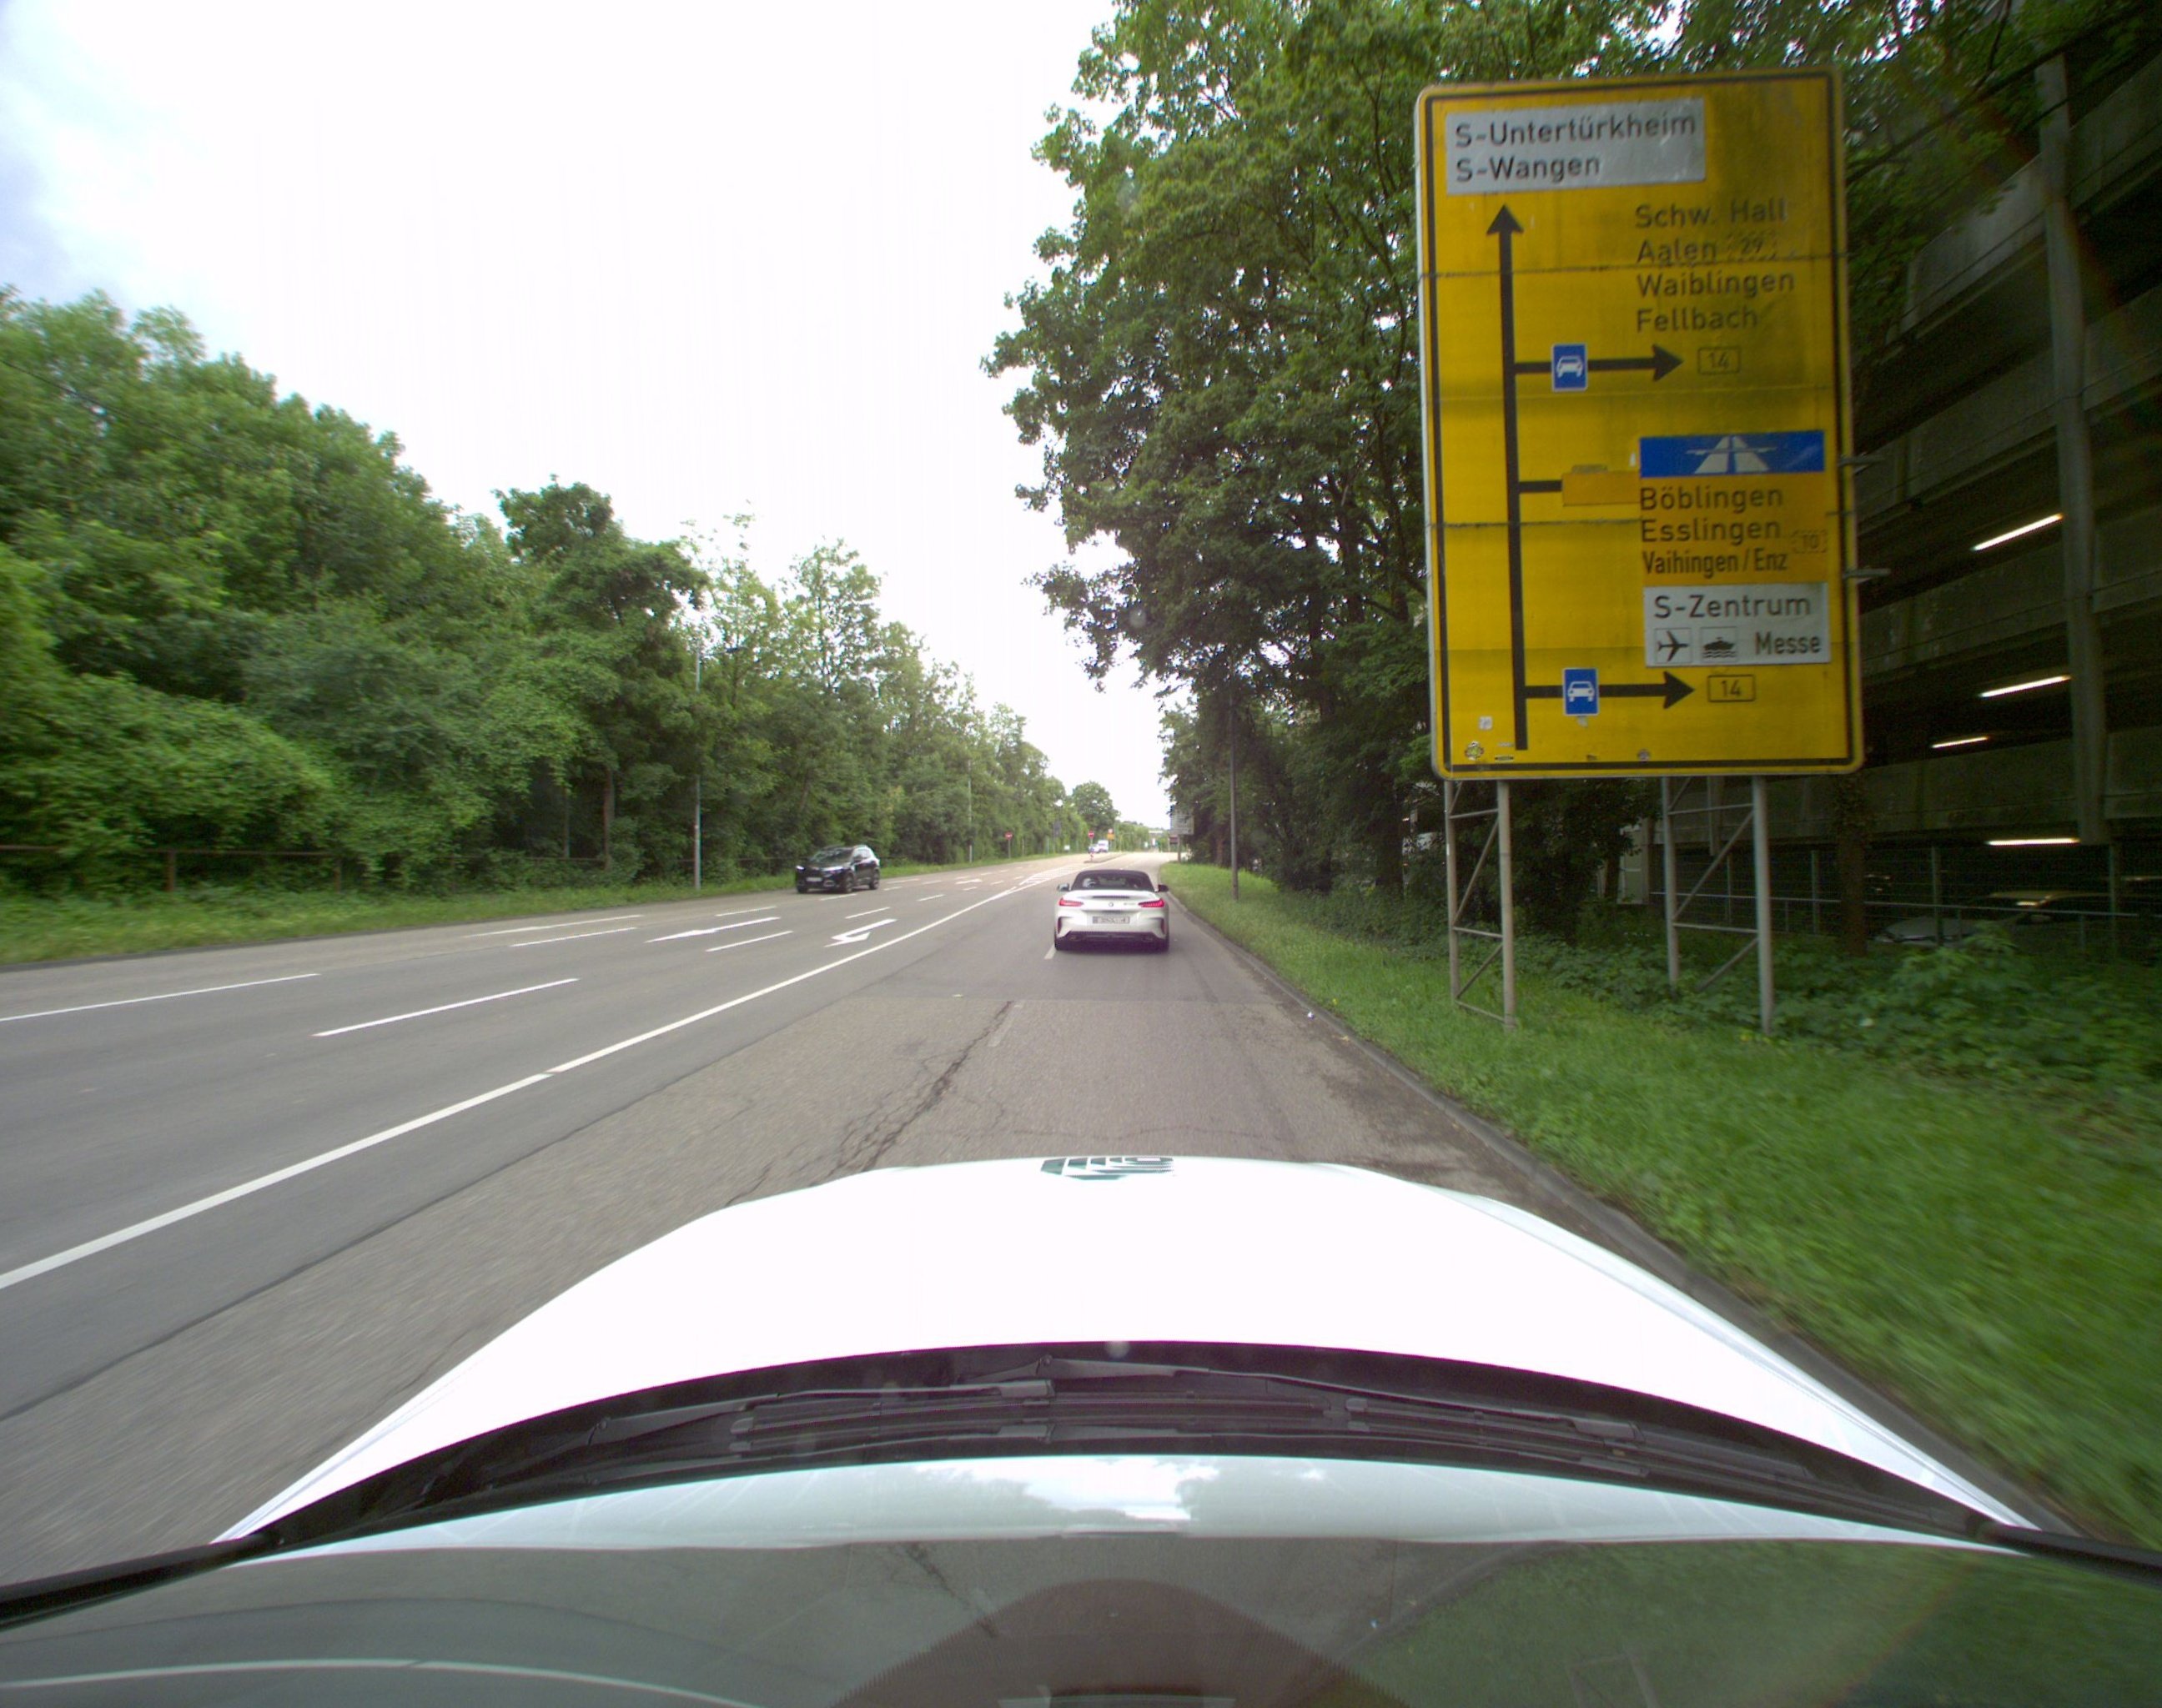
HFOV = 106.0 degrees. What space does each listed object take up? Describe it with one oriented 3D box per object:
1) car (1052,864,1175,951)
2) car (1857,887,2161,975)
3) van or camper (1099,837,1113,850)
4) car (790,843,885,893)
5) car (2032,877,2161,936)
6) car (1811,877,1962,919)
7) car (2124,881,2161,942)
[{"bbox_3d":[0.577,0.830,14.335,1.867,1.309,3.875,0,-1,2],"label":"car"},{"bbox_3d":[17.098,1.352,14.653,4.422,1.456,1.712,-1,-3,4],"label":"car"},{"bbox_3d":[5.388,-2.160,172.594,2.272,2.555,6.870,4,0,6],"label":"van or camper"},{"bbox_3d":[-8.705,0.491,29.513,1.813,1.653,4.227,1,0,5],"label":"car"},{"bbox_3d":[28.654,1.376,21.836,4.042,1.452,1.827,-1,-1,3],"label":"car"},{"bbox_3d":[28.790,1.553,29.198,3.647,1.351,1.674,-1,-1,3],"label":"car"},{"bbox_3d":[27.713,1.367,19.091,4.042,1.416,1.827,-1,-1,3],"label":"car"}]
